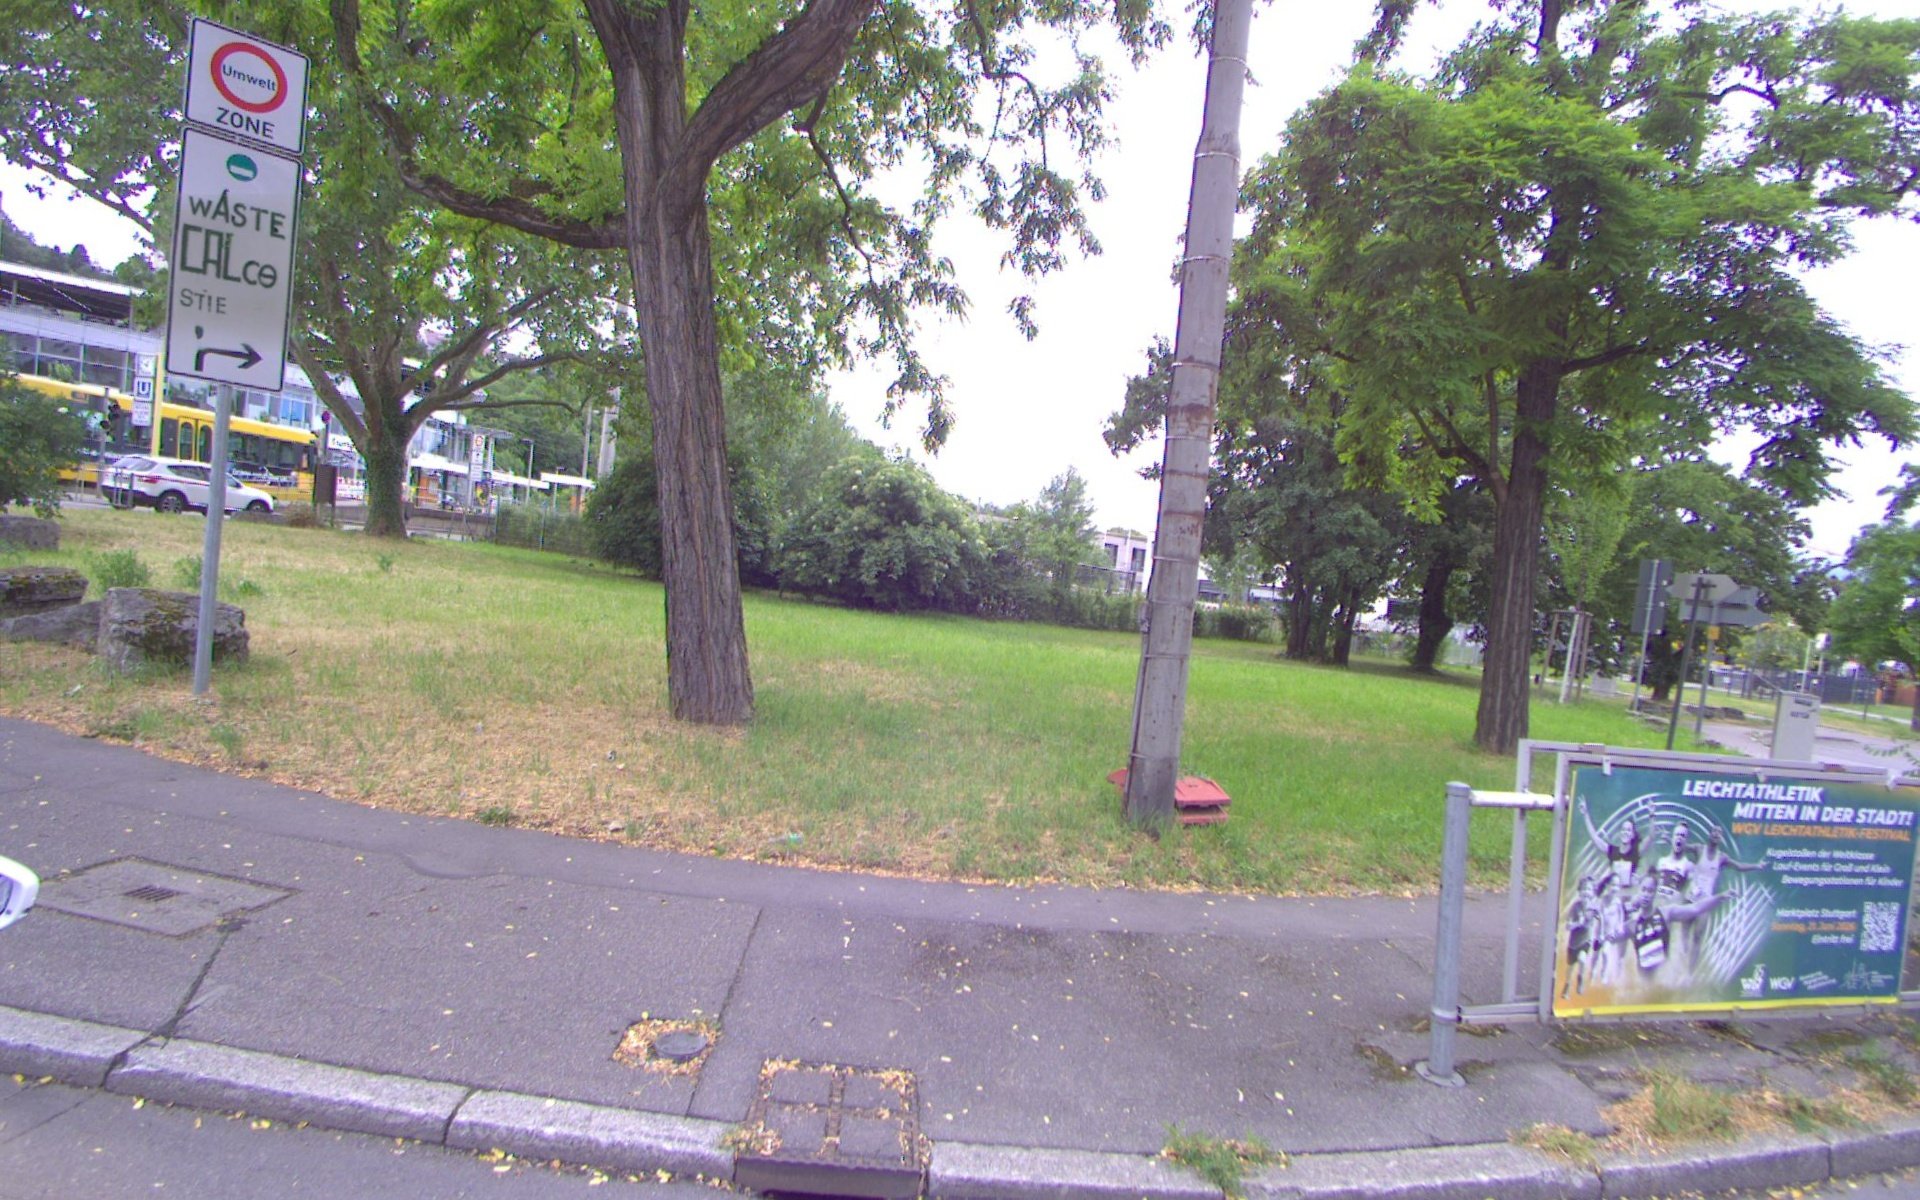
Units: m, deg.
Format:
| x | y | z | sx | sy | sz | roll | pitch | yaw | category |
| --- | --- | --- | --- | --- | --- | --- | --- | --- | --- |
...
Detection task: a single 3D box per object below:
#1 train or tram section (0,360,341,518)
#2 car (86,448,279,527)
| x | y | z | sx | sy | sz | roll | pitch | yaw | category |
| --- | --- | --- | --- | --- | --- | --- | --- | --- | --- |
| -29.719 | -5.510 | 33.674 | 3.215 | 3.713 | 19.168 | 7 | 2 | 10 | train or tram section |
| -21.758 | -3.098 | 28.374 | 1.768 | 1.605 | 4.125 | 7 | 2 | 9 | car |
